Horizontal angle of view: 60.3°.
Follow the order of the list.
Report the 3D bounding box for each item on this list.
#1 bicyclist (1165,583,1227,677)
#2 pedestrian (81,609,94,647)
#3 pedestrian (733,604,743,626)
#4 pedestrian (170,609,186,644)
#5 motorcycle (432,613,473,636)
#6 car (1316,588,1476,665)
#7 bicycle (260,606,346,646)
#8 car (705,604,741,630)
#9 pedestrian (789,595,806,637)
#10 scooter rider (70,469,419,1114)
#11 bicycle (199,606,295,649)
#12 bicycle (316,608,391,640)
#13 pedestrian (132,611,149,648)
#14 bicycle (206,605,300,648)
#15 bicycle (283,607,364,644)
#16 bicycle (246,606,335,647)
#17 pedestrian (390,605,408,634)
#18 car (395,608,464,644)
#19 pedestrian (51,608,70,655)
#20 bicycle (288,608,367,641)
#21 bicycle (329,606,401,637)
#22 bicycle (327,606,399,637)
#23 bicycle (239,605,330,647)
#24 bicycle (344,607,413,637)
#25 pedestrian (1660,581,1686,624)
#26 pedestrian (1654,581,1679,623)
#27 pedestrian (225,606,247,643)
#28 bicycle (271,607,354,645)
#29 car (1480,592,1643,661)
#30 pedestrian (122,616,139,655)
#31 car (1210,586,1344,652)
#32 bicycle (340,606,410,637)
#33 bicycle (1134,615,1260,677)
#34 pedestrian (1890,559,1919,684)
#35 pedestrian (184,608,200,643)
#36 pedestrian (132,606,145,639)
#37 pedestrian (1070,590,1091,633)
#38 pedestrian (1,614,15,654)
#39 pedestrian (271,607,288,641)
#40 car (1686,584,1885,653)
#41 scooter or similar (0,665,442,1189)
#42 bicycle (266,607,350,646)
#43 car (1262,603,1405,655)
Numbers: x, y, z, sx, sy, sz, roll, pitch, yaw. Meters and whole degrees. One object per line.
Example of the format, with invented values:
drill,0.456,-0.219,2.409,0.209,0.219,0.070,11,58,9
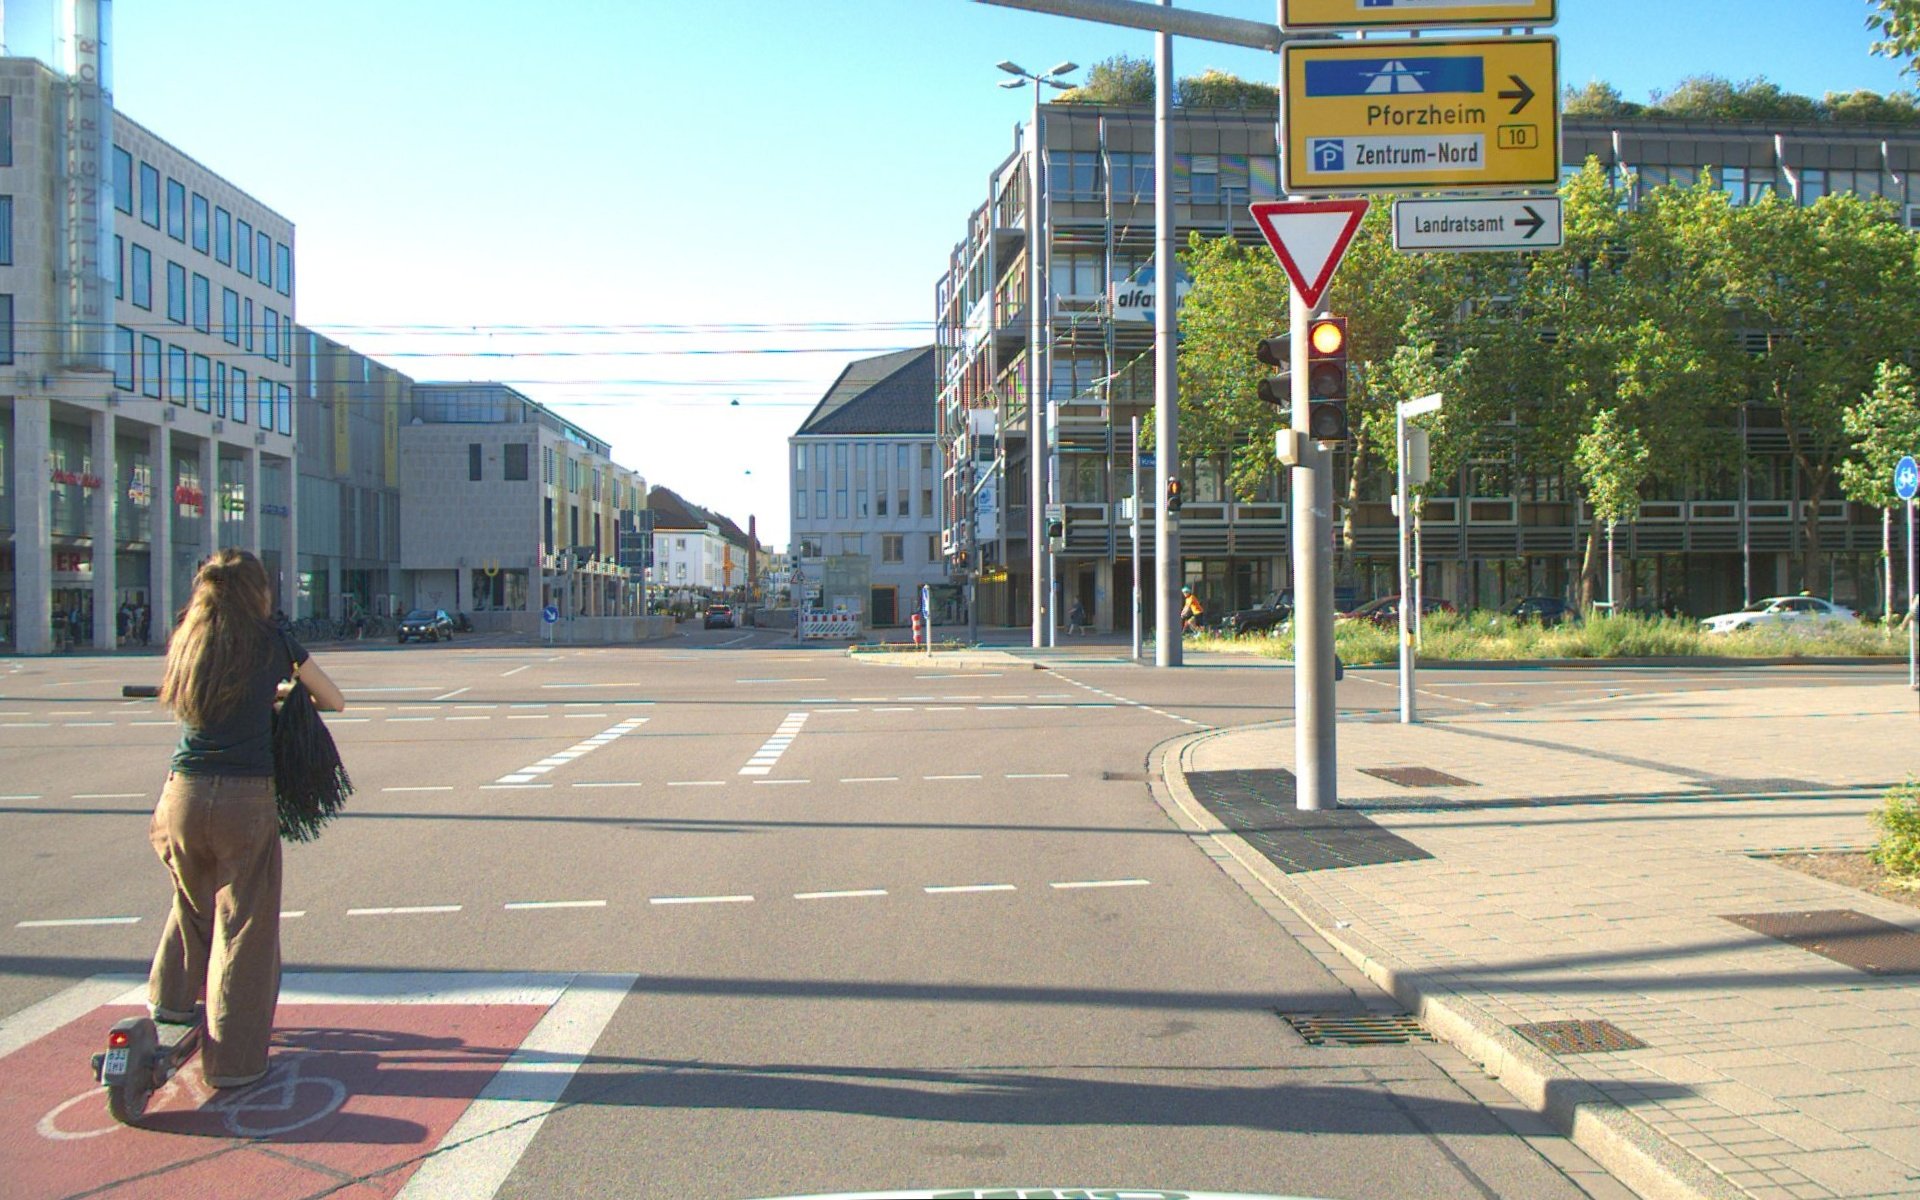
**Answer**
bicyclist,6.724,0.841,47.212,1.539,2.625,0.930,-1,0,-10
pedestrian,-37.319,1.176,70.761,0.379,1.613,0.367,-1,0,-5
pedestrian,-14.227,0.965,106.078,0.598,1.436,0.569,-1,0,-7
pedestrian,-36.342,1.228,76.852,0.472,1.613,0.598,-1,0,-5
motorcycle,-29.941,1.449,97.589,2.230,1.341,0.719,-1,0,-6
car,12.237,0.742,46.567,3.907,2.049,1.999,1,0,-3
bicycle,-29.564,1.180,74.489,3.430,1.726,0.984,-1,0,-12
car,-15.481,1.111,108.156,2.157,1.635,4.320,-1,0,-6
pedestrian,-6.725,0.656,68.261,0.650,1.687,0.755,-1,0,-4
scooter rider,-2.136,0.535,5.040,0.713,1.806,0.811,0,0,-1
bicycle,-29.313,1.124,68.028,3.427,1.726,1.114,-1,0,-10
bicycle,-30.873,1.224,84.261,3.430,1.554,0.984,-1,0,-12
pedestrian,-34.812,1.260,70.271,0.472,1.537,0.513,-1,0,-5
bicycle,-29.541,1.093,69.194,3.427,1.726,1.114,-1,0,-10
bicycle,-30.327,1.200,78.862,3.430,1.726,0.984,-1,0,-12
bicycle,-29.089,1.135,71.920,3.427,1.726,1.114,-1,0,-10
pedestrian,-32.852,1.128,96.900,0.680,1.671,0.697,-1,0,33
car,-23.696,1.119,74.024,1.954,1.512,3.997,-1,0,-3
pedestrian,-32.372,1.123,59.520,0.535,1.671,0.544,-1,0,-33
bicycle,-30.531,1.183,79.851,3.430,1.554,0.984,-1,0,-12
bicycle,-31.377,1.120,87.240,3.430,1.554,0.984,-1,0,-12
bicycle,-31.060,1.132,86.123,3.430,1.554,0.984,-1,0,-12
bicycle,-28.858,1.098,70.708,3.427,1.726,1.114,-1,0,-10
bicycle,-31.771,1.180,90.396,3.430,1.554,0.984,-1,0,-12
pedestrian,28.477,0.088,66.077,0.651,1.687,0.740,-1,0,-8
pedestrian,28.579,0.093,66.918,0.651,1.687,0.740,-1,0,-8
pedestrian,-33.353,1.125,76.166,0.770,1.671,0.693,-1,0,-10
bicycle,-30.028,1.190,76.777,3.430,1.726,0.984,-1,0,-12
car,18.833,0.830,51.867,4.359,2.049,1.998,1,0,-6
pedestrian,-34.896,1.475,69.575,0.472,1.613,0.513,-1,0,-5
car,10.311,0.607,53.908,3.907,2.049,1.999,1,0,-3
bicycle,-31.468,1.150,89.014,3.430,1.554,0.984,-1,0,-12
bicycle,6.753,1.310,47.212,3.427,1.688,0.929,-1,0,-10
pedestrian,13.110,0.286,22.068,0.787,1.658,0.939,-1,0,-14
pedestrian,-35.804,1.202,77.089,0.472,1.613,0.598,-1,0,-5
pedestrian,-36.141,0.984,72.793,0.379,1.464,0.367,-1,0,-5
pedestrian,4.796,0.460,65.720,0.715,1.687,0.649,-1,0,-8
pedestrian,-34.614,1.248,60.145,0.384,1.437,0.431,0,0,-40
pedestrian,-33.202,1.167,80.710,0.641,1.671,0.693,-1,0,-9
car,26.178,0.588,52.561,5.332,2.049,2.096,1,0,-3
scooter or similar,-2.153,0.843,4.931,0.713,1.223,1.664,0,0,-1
bicycle,-29.788,1.189,75.577,3.430,1.726,0.984,-1,0,-12
car,11.445,0.873,50.804,3.908,1.534,1.867,1,0,-4
